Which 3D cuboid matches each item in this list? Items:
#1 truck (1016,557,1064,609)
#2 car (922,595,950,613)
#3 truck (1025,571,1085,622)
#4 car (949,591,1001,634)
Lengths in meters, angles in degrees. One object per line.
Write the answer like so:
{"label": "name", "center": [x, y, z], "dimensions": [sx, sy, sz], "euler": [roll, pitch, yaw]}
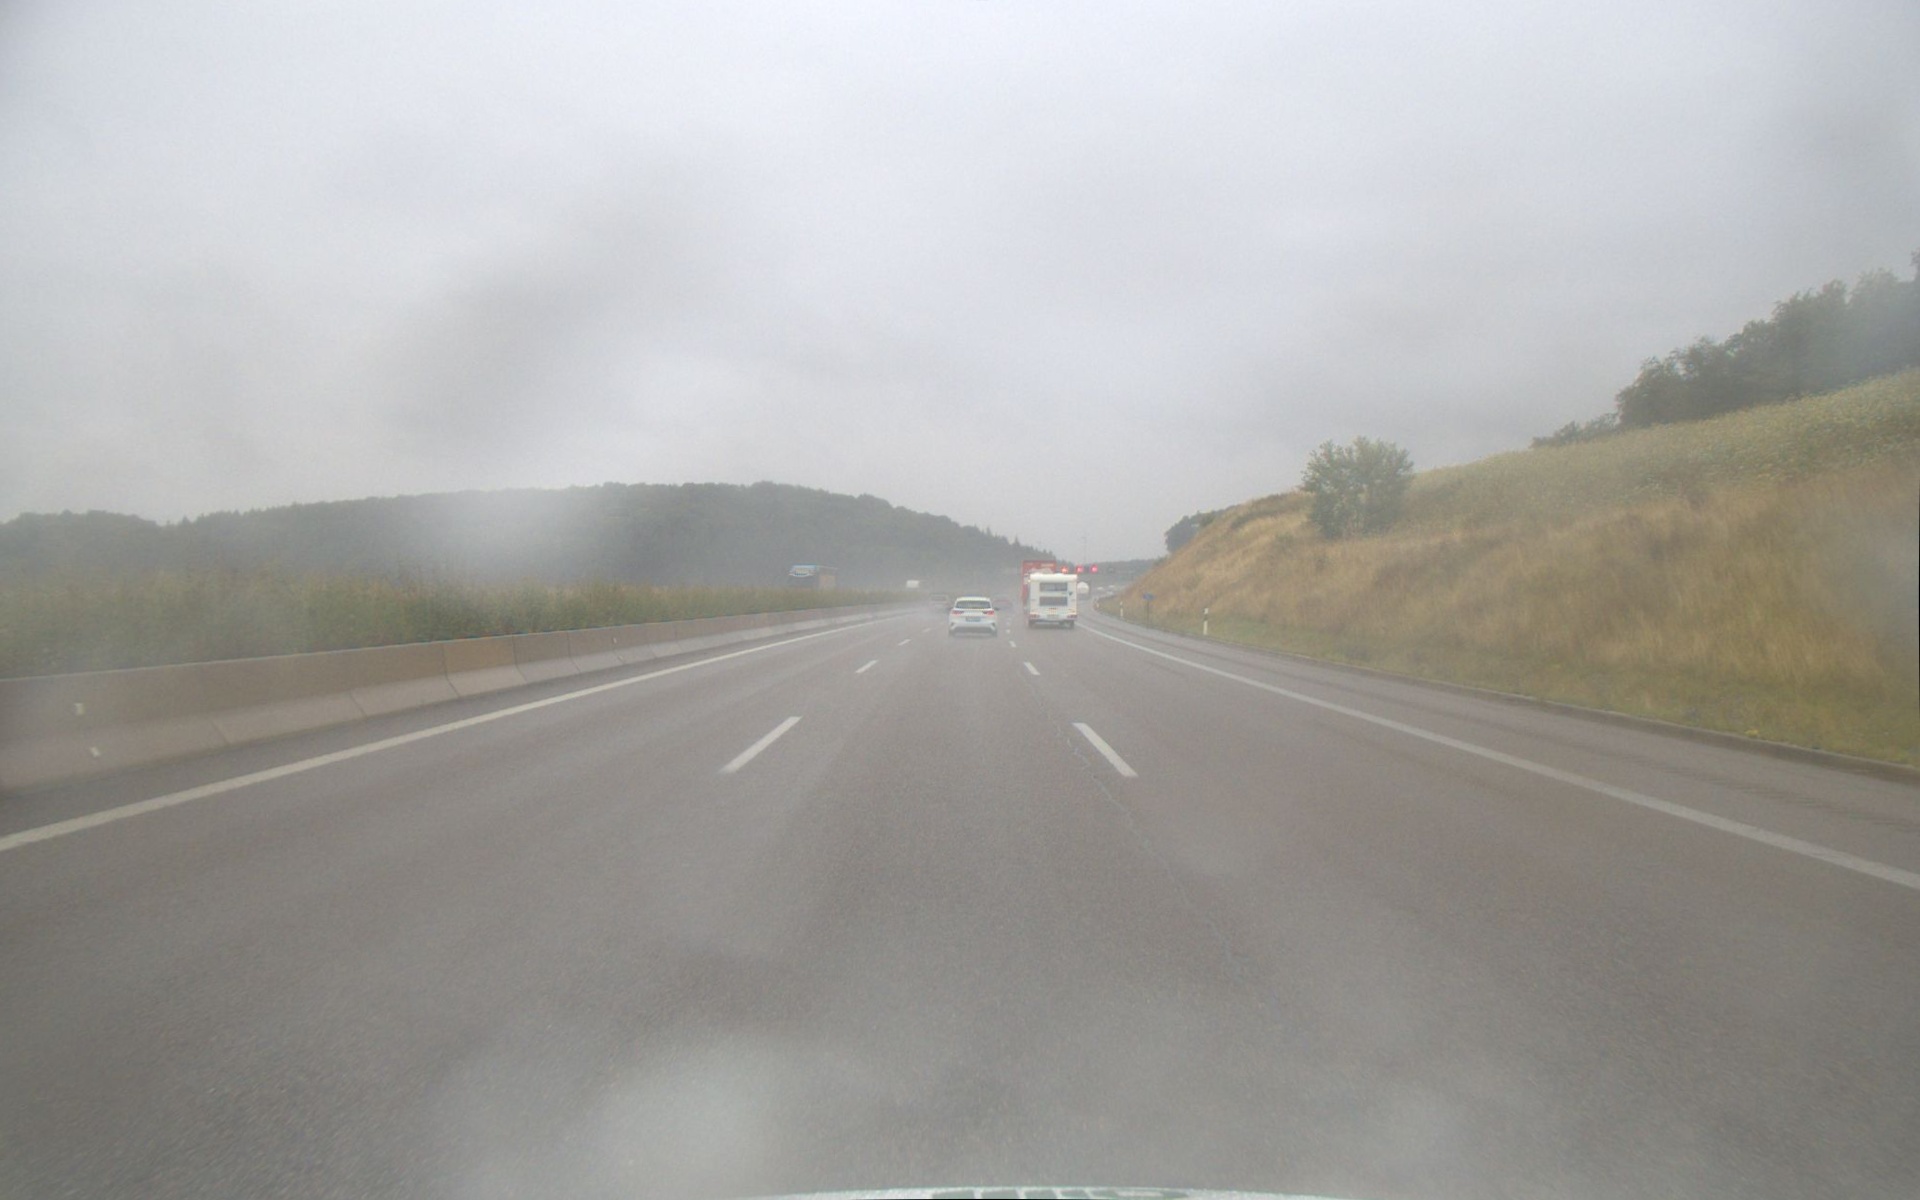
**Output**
{"label": "truck", "center": [6.127, -1.328, 126.711], "dimensions": [3.453, 3.808, 11.430], "euler": [1, 1, 3]}
{"label": "car", "center": [-1.688, 0.275, 115.516], "dimensions": [1.787, 1.177, 4.210], "euler": [1, -1, -3]}
{"label": "truck", "center": [4.457, -0.160, 78.337], "dimensions": [2.359, 2.292, 4.690], "euler": [0, 0, -3]}
{"label": "car", "center": [0.550, 0.466, 60.762], "dimensions": [1.829, 1.488, 4.000], "euler": [0, -1, 0]}
